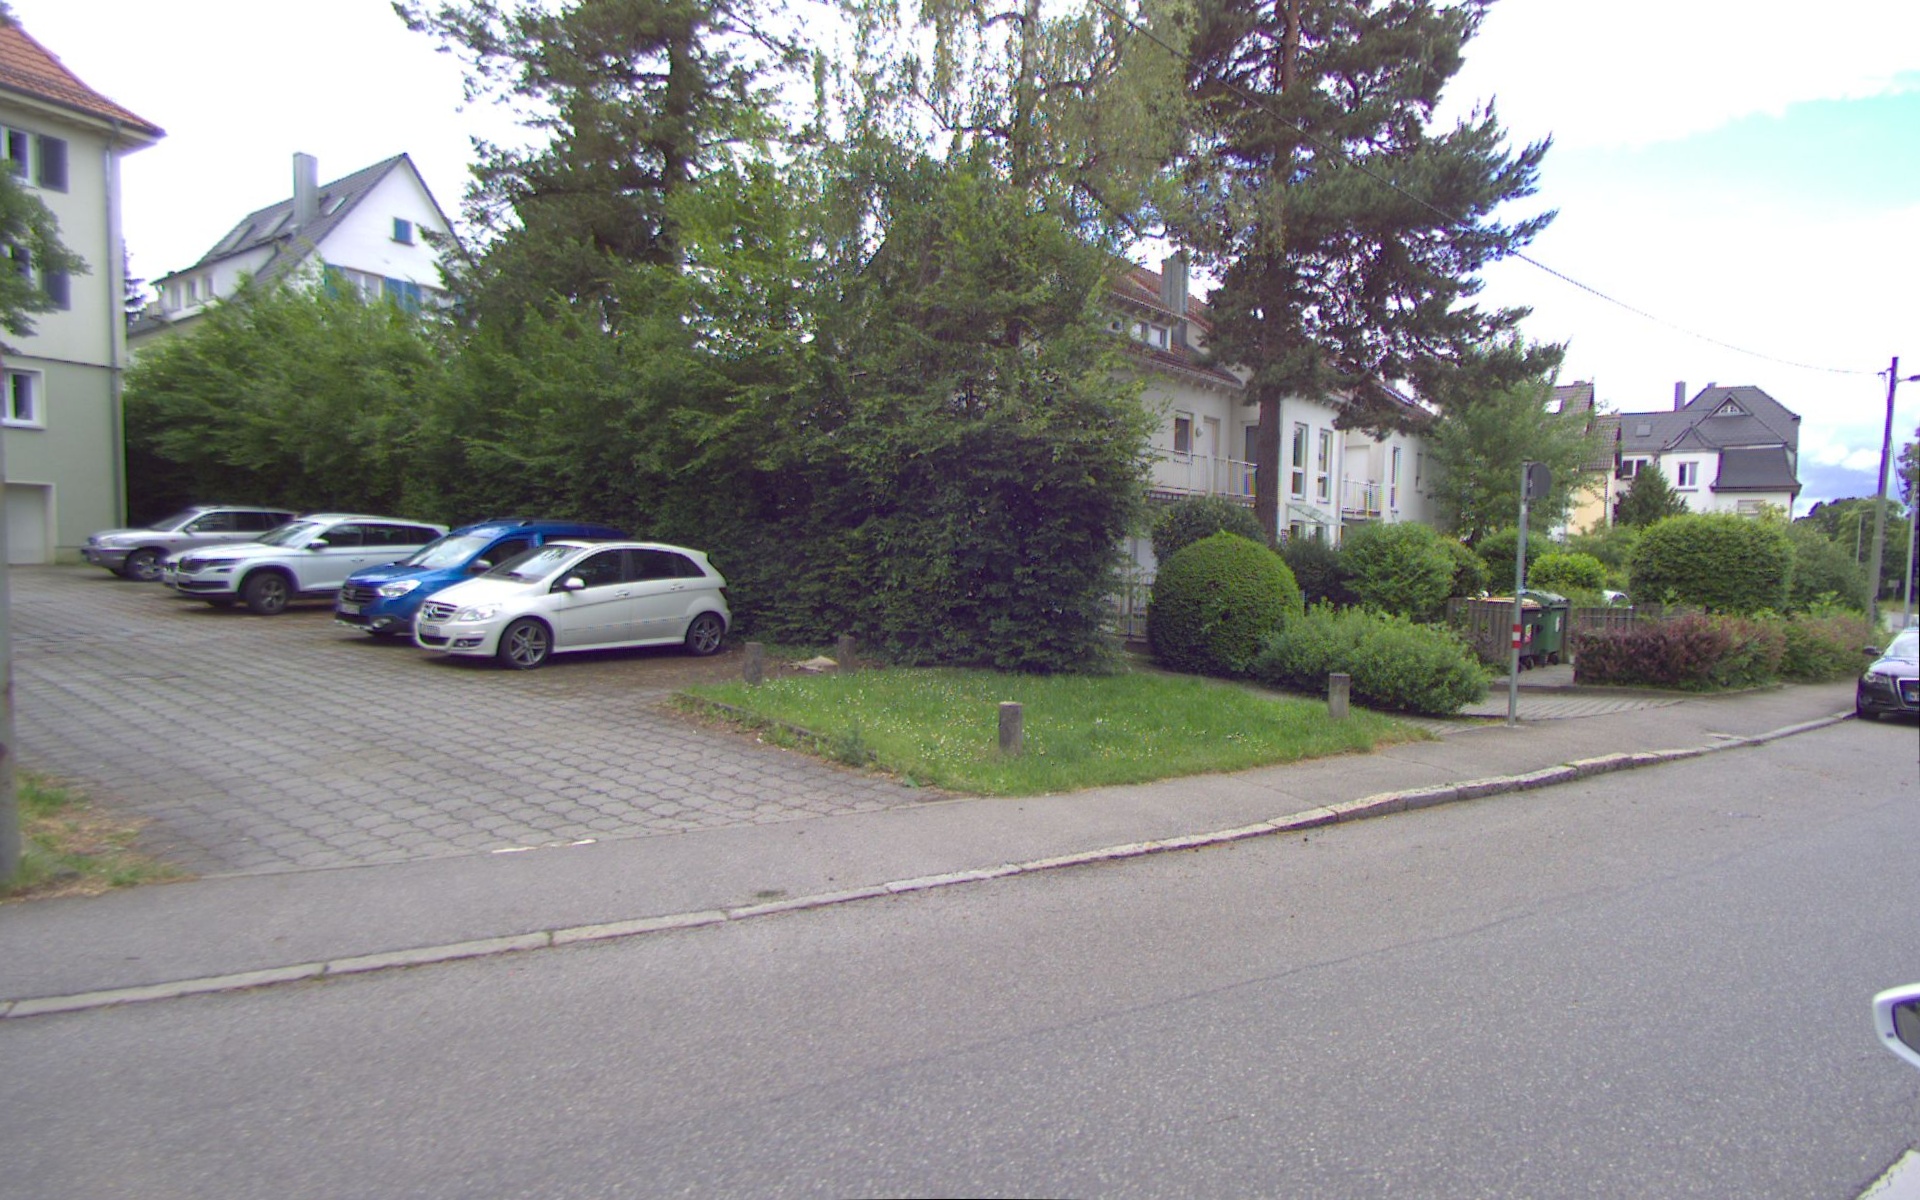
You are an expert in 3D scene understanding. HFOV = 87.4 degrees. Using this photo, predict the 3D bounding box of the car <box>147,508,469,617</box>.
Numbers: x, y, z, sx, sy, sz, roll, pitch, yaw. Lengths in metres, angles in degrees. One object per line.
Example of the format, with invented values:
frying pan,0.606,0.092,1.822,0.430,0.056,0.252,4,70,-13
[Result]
car,-11.560,-0.681,18.154,1.973,1.700,4.485,4,3,31

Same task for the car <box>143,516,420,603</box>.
car,-13.311,-0.803,19.959,1.848,1.513,4.185,4,3,34

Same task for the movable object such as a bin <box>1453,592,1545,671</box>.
movable object such as a bin,10.279,0.567,19.155,1.383,1.382,1.103,-1,4,-42

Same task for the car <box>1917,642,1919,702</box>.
car,19.039,1.117,18.475,4.298,1.461,1.635,1,1,-41

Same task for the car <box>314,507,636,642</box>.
car,-7.258,-0.424,15.483,1.716,1.756,4.255,4,3,30

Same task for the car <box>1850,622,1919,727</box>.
car,15.224,1.089,15.382,4.466,1.437,1.720,1,1,-40

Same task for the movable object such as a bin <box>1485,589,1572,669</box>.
movable object such as a bin,11.409,0.547,20.156,1.442,1.487,1.083,-1,4,-42

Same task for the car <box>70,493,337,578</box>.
car,-17.175,-1.422,23.053,1.719,1.754,4.609,4,3,37

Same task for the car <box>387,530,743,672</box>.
car,-5.206,-0.030,13.758,1.719,1.615,4.255,4,3,36
